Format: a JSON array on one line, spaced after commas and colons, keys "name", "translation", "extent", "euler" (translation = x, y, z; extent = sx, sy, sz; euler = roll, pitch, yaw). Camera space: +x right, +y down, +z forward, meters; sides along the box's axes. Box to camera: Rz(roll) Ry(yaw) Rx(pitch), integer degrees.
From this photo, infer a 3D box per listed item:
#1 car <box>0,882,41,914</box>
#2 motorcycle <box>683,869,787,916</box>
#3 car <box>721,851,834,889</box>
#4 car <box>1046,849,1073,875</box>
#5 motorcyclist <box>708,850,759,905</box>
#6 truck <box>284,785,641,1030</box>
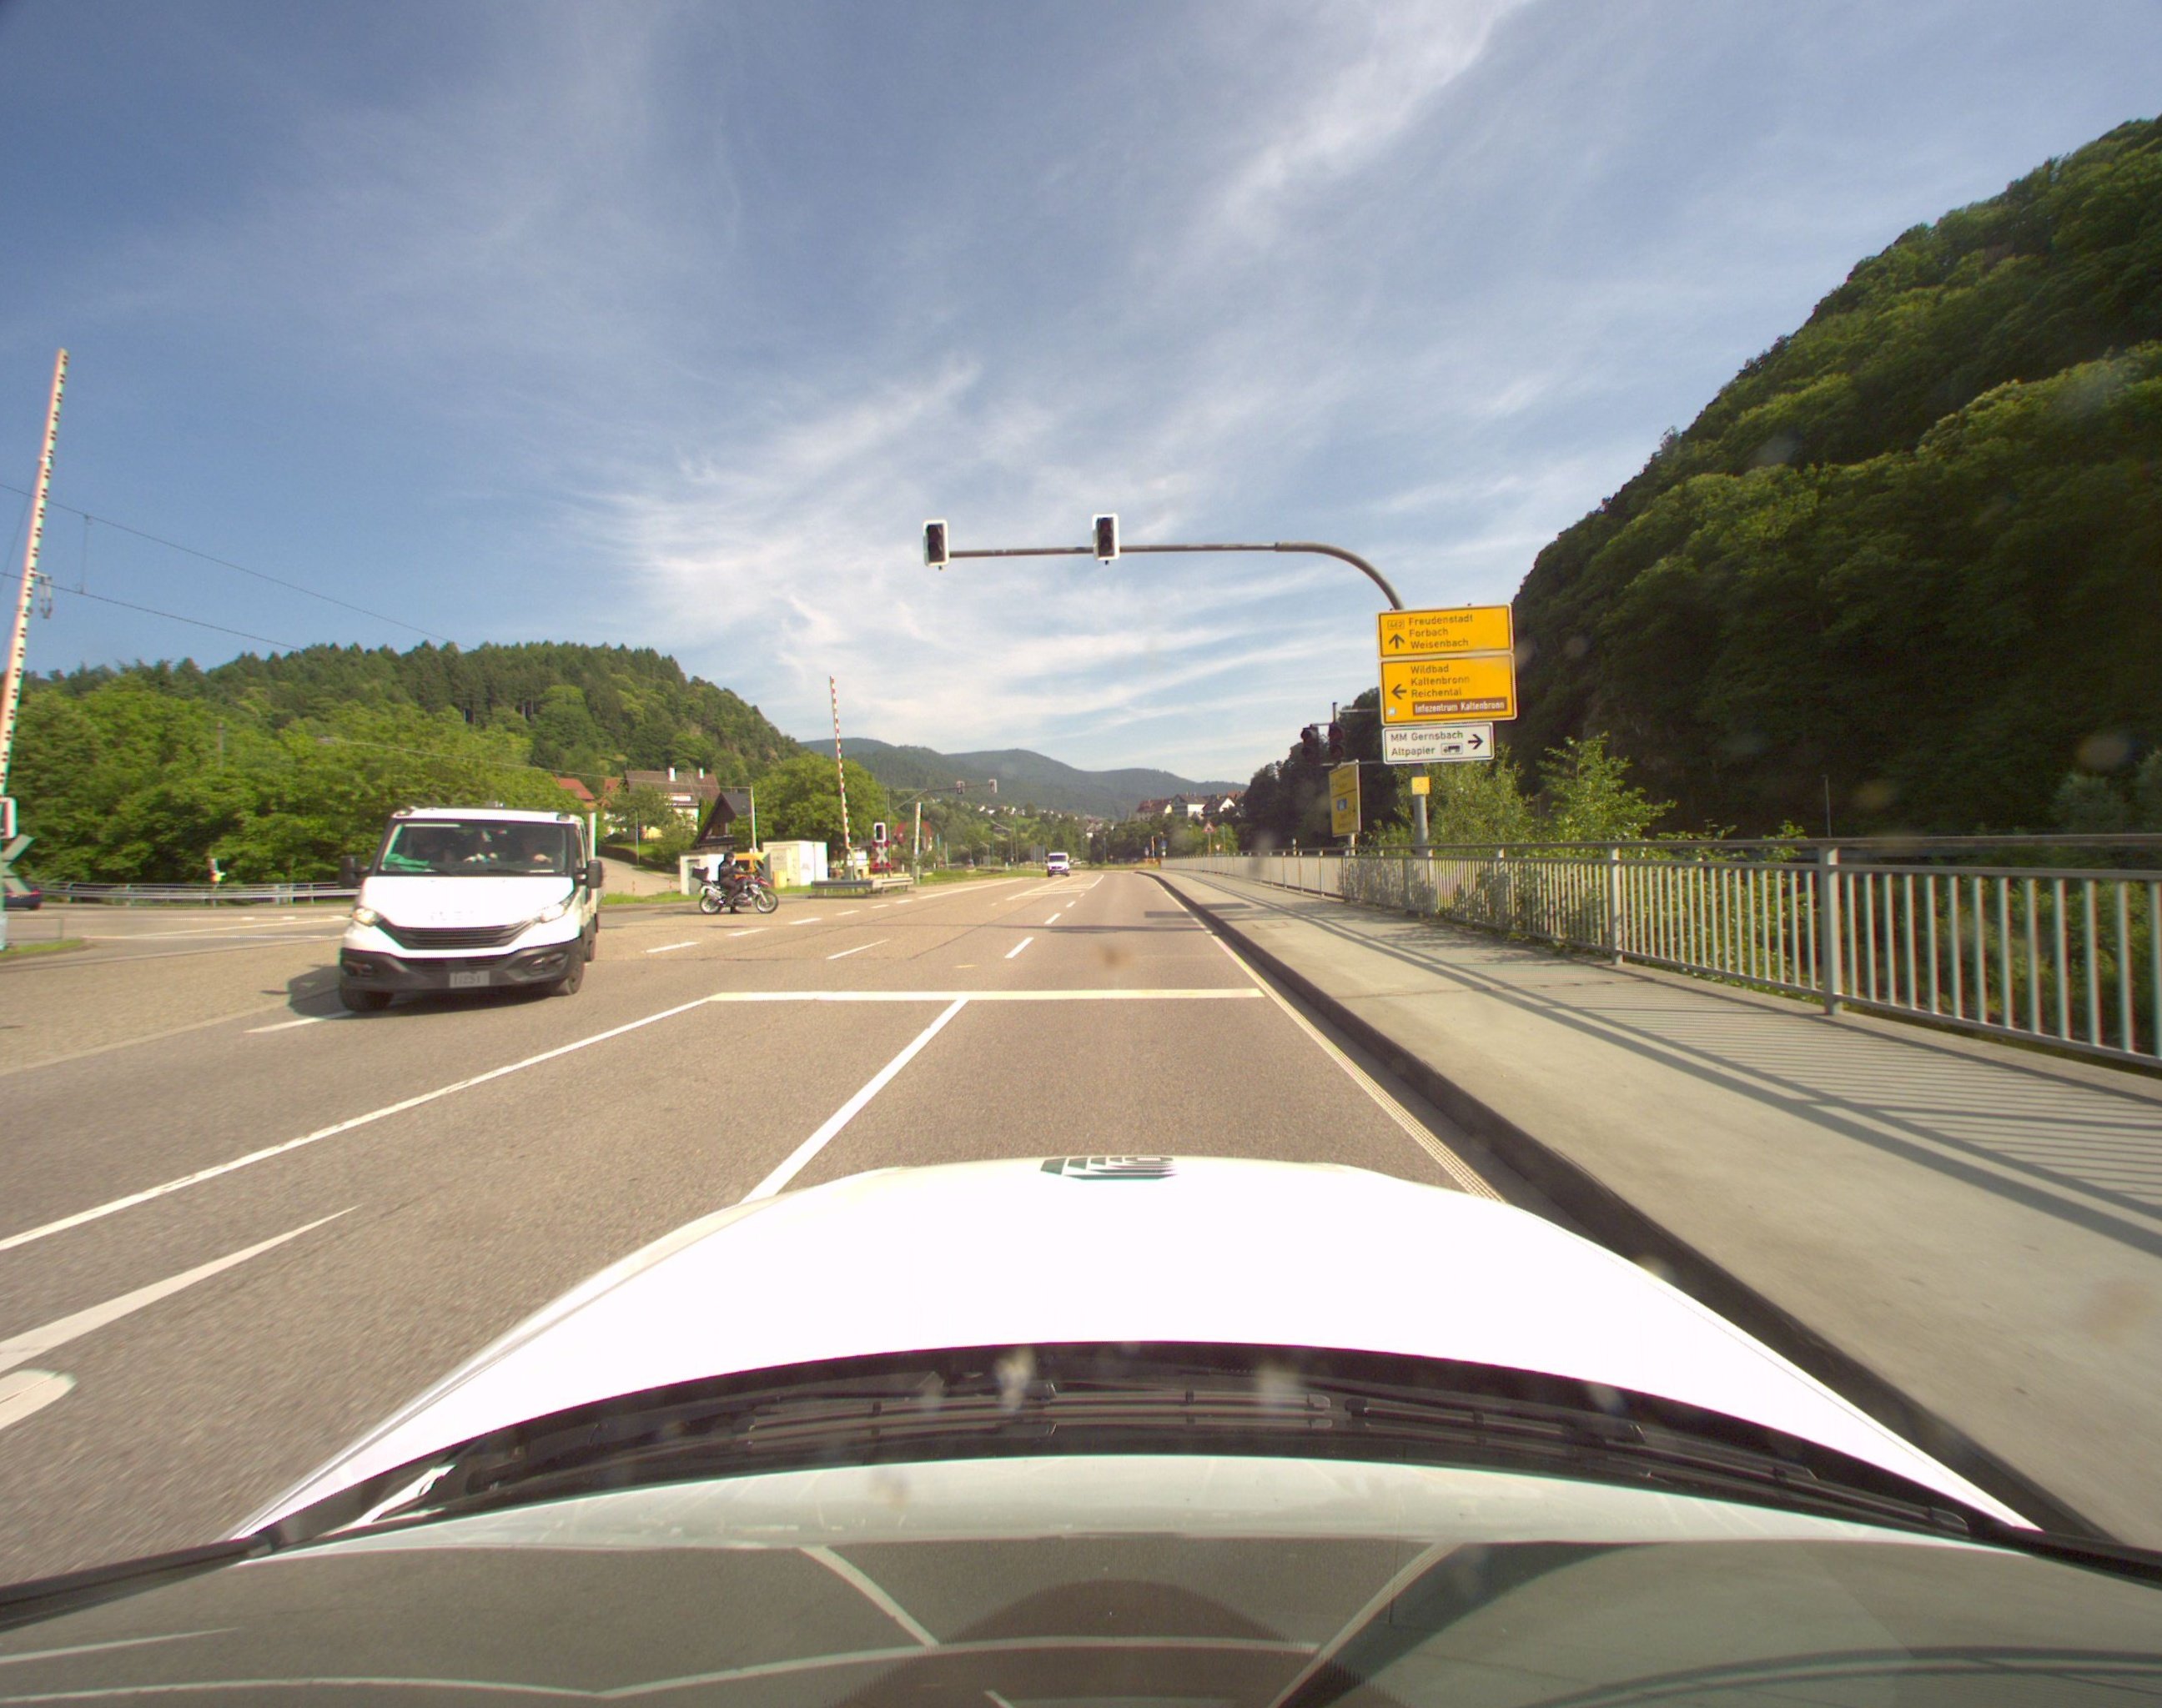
[{"name": "car", "translation": [-54.035, 2.230, 40.074], "extent": [3.959, 1.530, 1.957], "euler": [-2, -1, 13]}, {"name": "motorcycle", "translation": [-9.868, 1.090, 23.371], "extent": [2.587, 1.268, 1.001], "euler": [-1, -1, -13]}, {"name": "car", "translation": [-21.652, 1.116, 58.235], "extent": [7.018, 2.457, 2.958], "euler": [-2, 0, 11]}, {"name": "car", "translation": [-2.036, 0.762, 78.977], "extent": [2.110, 2.436, 5.232], "euler": [-1, 0, 3]}, {"name": "motorcyclist", "translation": [-9.951, 0.661, 23.365], "extent": [1.183, 1.544, 0.988], "euler": [0, -1, -12]}, {"name": "truck", "translation": [-7.548, 0.511, 10.901], "extent": [2.459, 2.266, 6.229], "euler": [-1, 0, -25]}]
